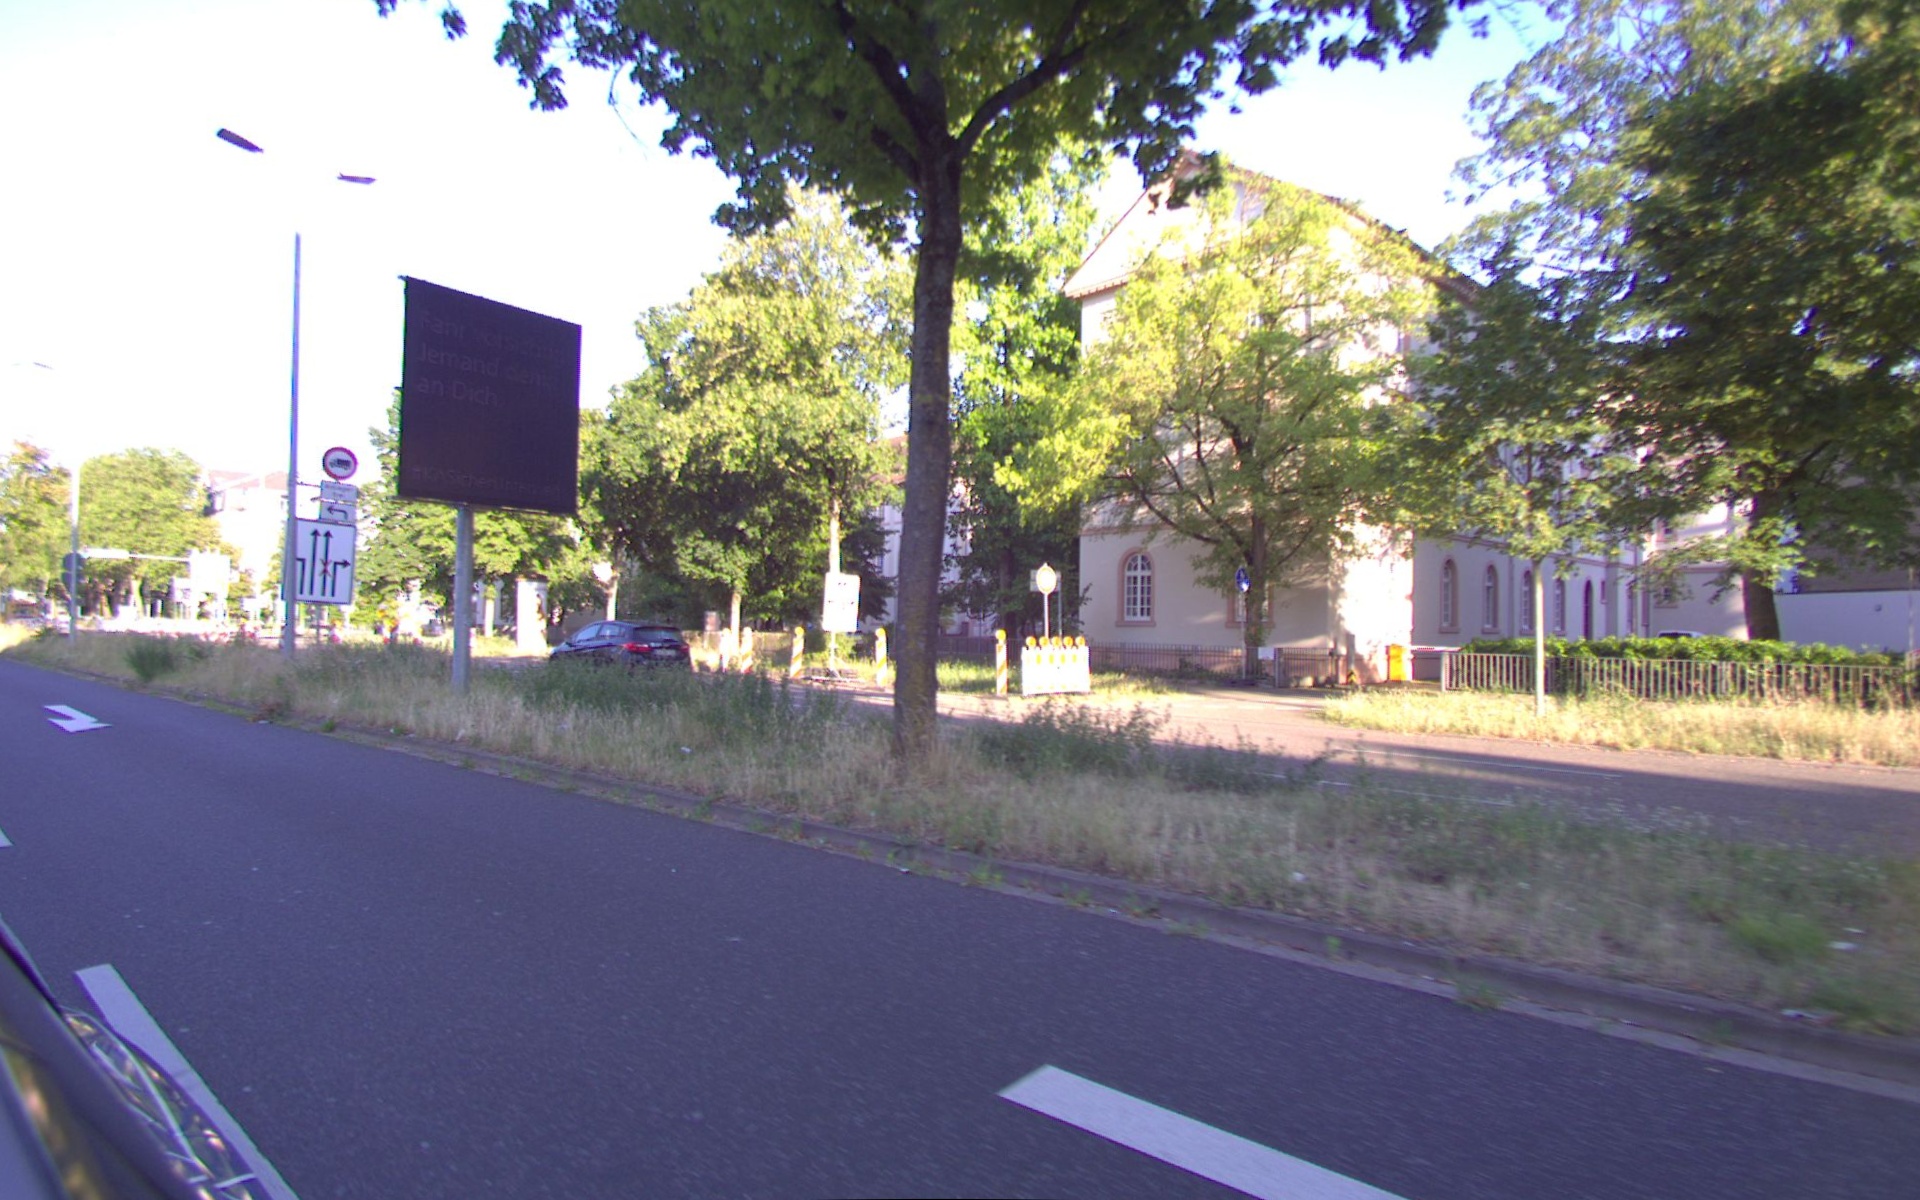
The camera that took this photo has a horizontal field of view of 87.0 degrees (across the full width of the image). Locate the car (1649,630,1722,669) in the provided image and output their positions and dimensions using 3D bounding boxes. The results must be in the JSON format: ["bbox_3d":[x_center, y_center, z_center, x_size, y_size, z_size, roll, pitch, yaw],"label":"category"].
[{"bbox_3d":[30.256,2.047,42.151,3.947,1.560,1.781,3,-3,-44],"label":"car"}]

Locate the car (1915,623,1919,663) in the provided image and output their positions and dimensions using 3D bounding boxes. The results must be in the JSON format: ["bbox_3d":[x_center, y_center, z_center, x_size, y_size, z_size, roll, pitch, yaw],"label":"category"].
[{"bbox_3d":[40.131,1.702,39.669,3.810,1.509,1.973,-1,0,41],"label":"car"}]

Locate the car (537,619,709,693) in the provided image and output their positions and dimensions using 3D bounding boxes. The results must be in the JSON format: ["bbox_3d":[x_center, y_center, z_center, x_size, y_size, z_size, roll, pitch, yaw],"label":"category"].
[{"bbox_3d":[-7.345,1.182,21.892,4.007,1.428,1.754,-1,-5,43],"label":"car"}]

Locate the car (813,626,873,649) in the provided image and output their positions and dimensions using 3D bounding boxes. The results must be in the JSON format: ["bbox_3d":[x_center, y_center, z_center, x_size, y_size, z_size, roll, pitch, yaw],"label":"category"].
[{"bbox_3d":[-7.720,2.428,66.534,3.999,1.386,1.676,-1,0,42],"label":"car"}]
